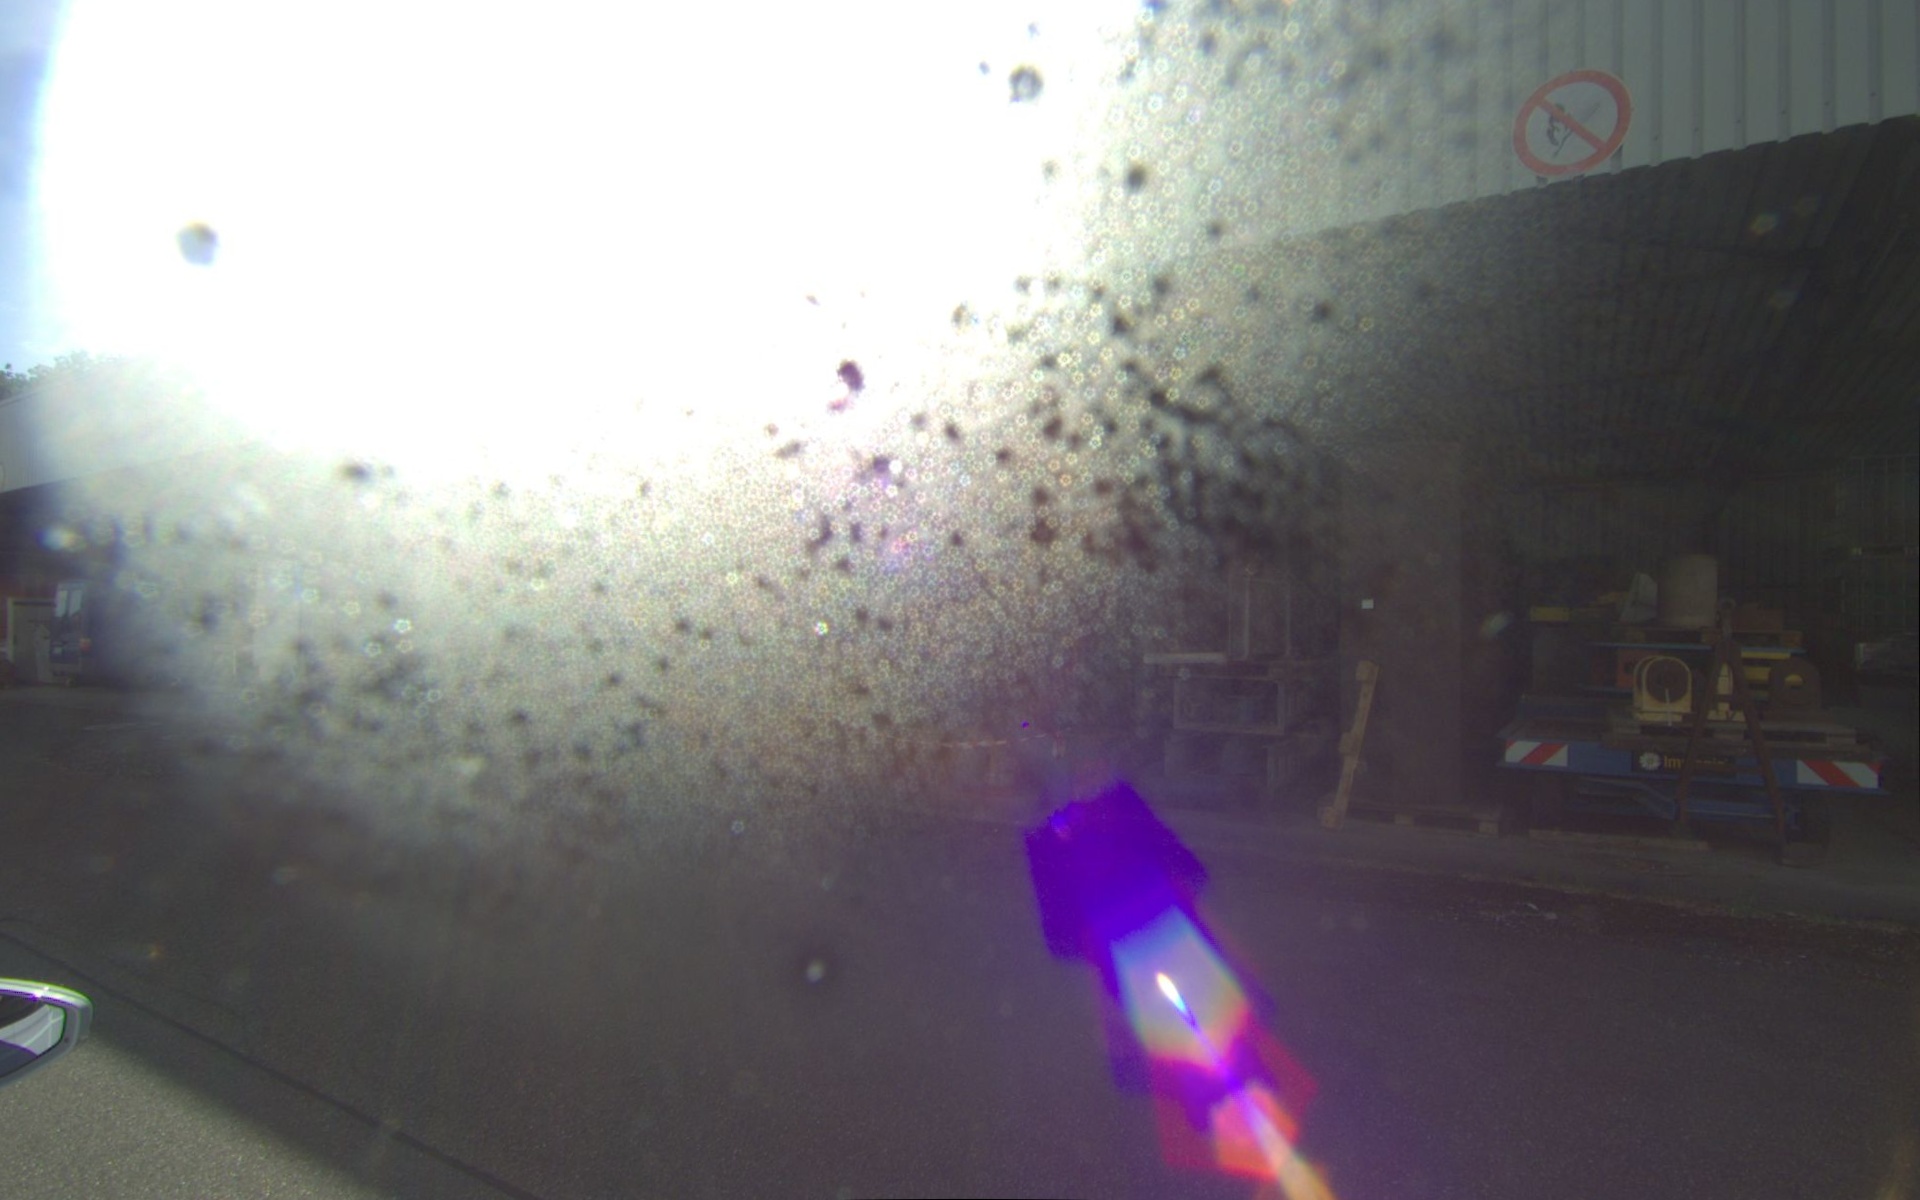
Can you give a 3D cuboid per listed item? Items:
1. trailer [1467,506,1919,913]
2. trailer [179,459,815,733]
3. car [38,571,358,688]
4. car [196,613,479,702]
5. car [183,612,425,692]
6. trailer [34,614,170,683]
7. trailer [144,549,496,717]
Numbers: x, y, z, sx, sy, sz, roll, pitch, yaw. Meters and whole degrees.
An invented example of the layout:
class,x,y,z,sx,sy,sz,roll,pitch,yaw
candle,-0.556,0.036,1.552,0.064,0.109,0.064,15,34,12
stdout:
class,x,y,z,sx,sy,sz,roll,pitch,yaw
trailer,5.175,0.597,7.343,2.133,2.016,4.413,-1,-1,33
trailer,-6.923,0.057,17.454,2.761,3.386,10.250,0,-1,32
car,-16.870,0.686,22.525,2.121,2.310,5.326,-1,-2,31
car,-11.718,1.050,19.168,1.841,1.490,4.246,0,-2,29
car,-13.889,1.085,21.443,1.812,1.533,3.962,-1,-2,29
trailer,-19.641,1.071,22.937,1.715,1.485,2.032,0,-1,36
trailer,-10.353,0.523,16.573,2.018,2.372,4.507,-1,-1,33
